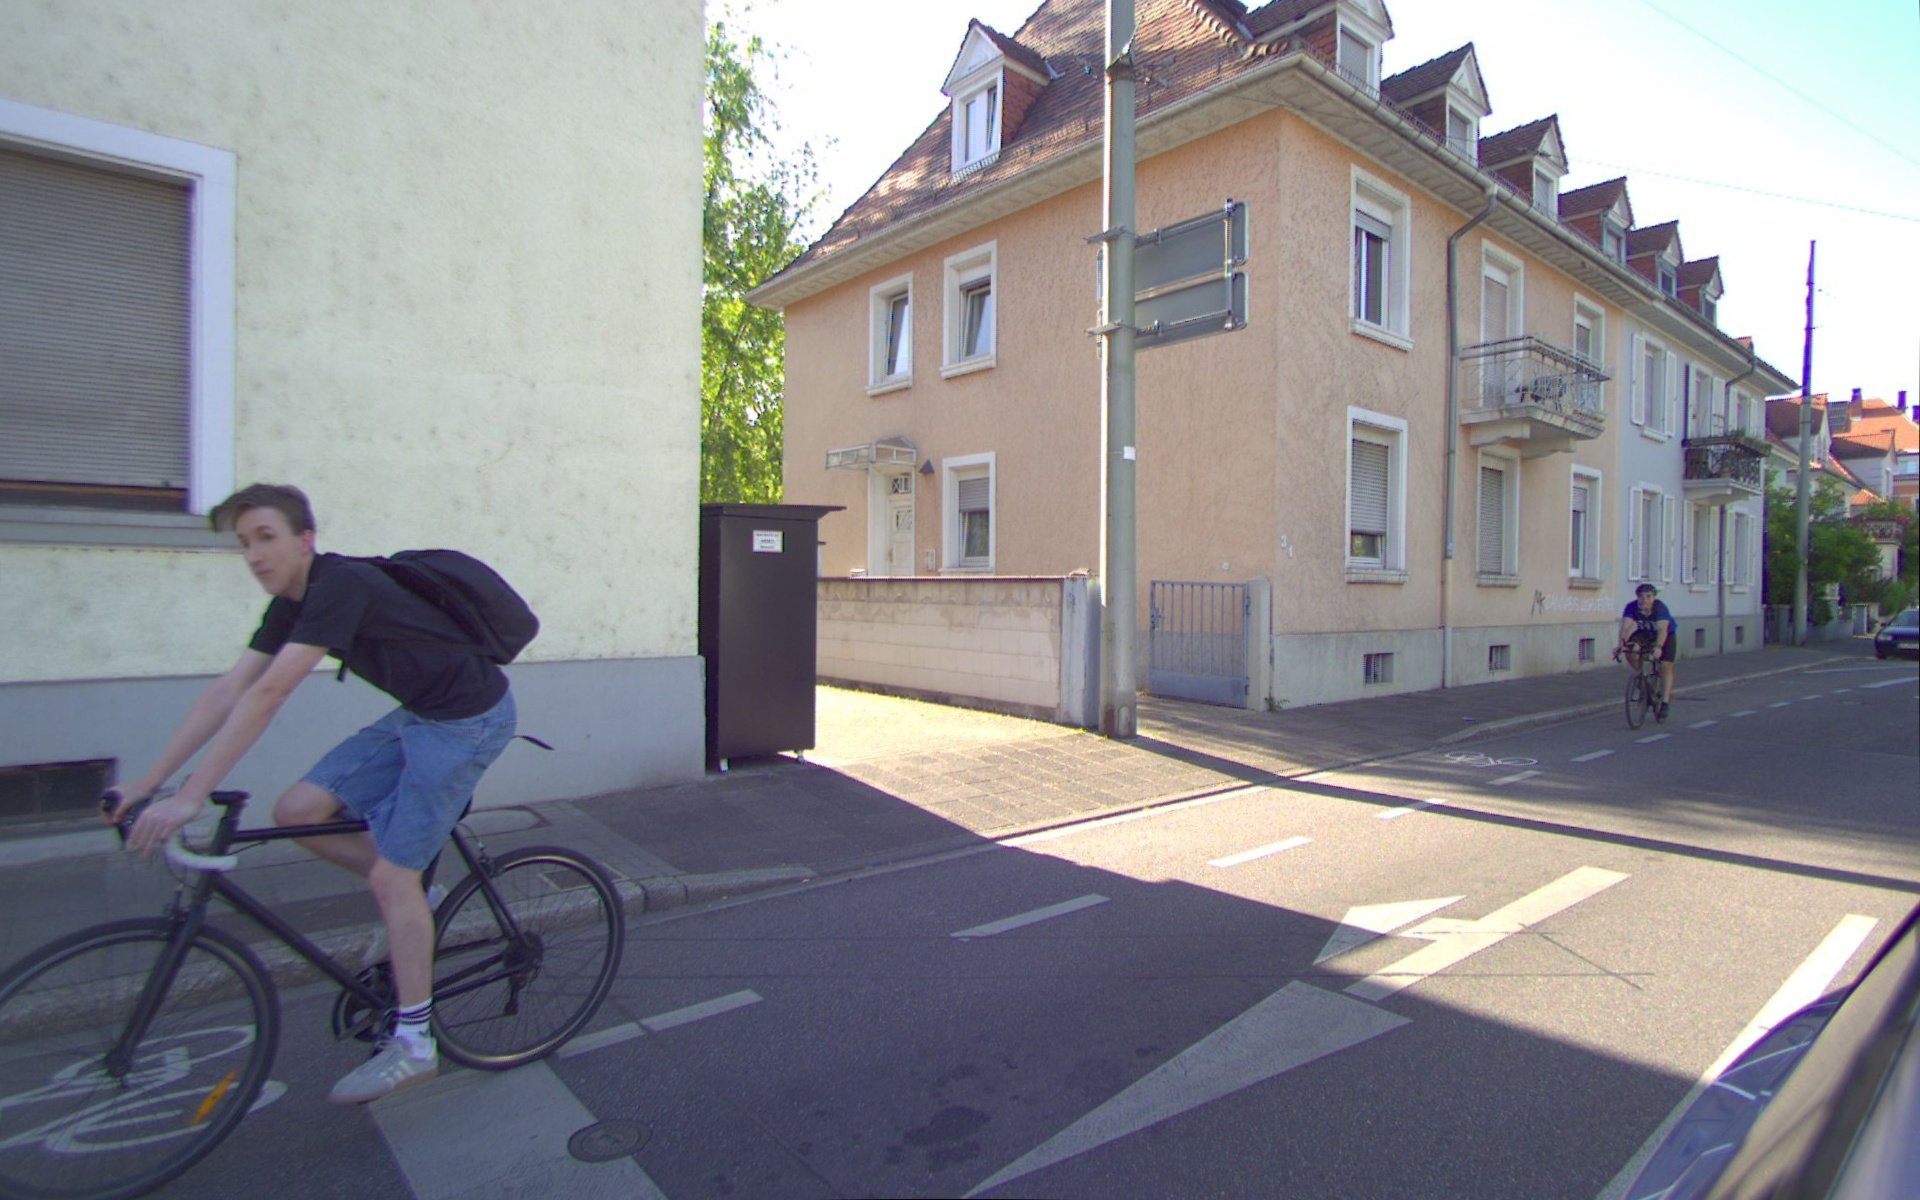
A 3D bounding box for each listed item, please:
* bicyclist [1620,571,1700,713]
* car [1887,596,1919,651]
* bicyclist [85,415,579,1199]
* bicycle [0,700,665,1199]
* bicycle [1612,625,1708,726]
[{"bbox_3d":[8.465,0.481,12.234,0.999,1.637,0.561,0,1,-42],"label":"bicyclist"},{"bbox_3d":[26.711,0.619,27.403,4.347,1.425,1.866,0,1,-41],"label":"car"},{"bbox_3d":[-1.703,0.461,2.817,0.560,1.752,1.067,0,0,44],"label":"bicyclist"},{"bbox_3d":[-1.736,0.881,2.794,0.532,1.029,1.730,1,1,44],"label":"bicycle"},{"bbox_3d":[8.494,0.877,12.258,1.764,1.076,0.550,-1,1,-42],"label":"bicycle"}]
